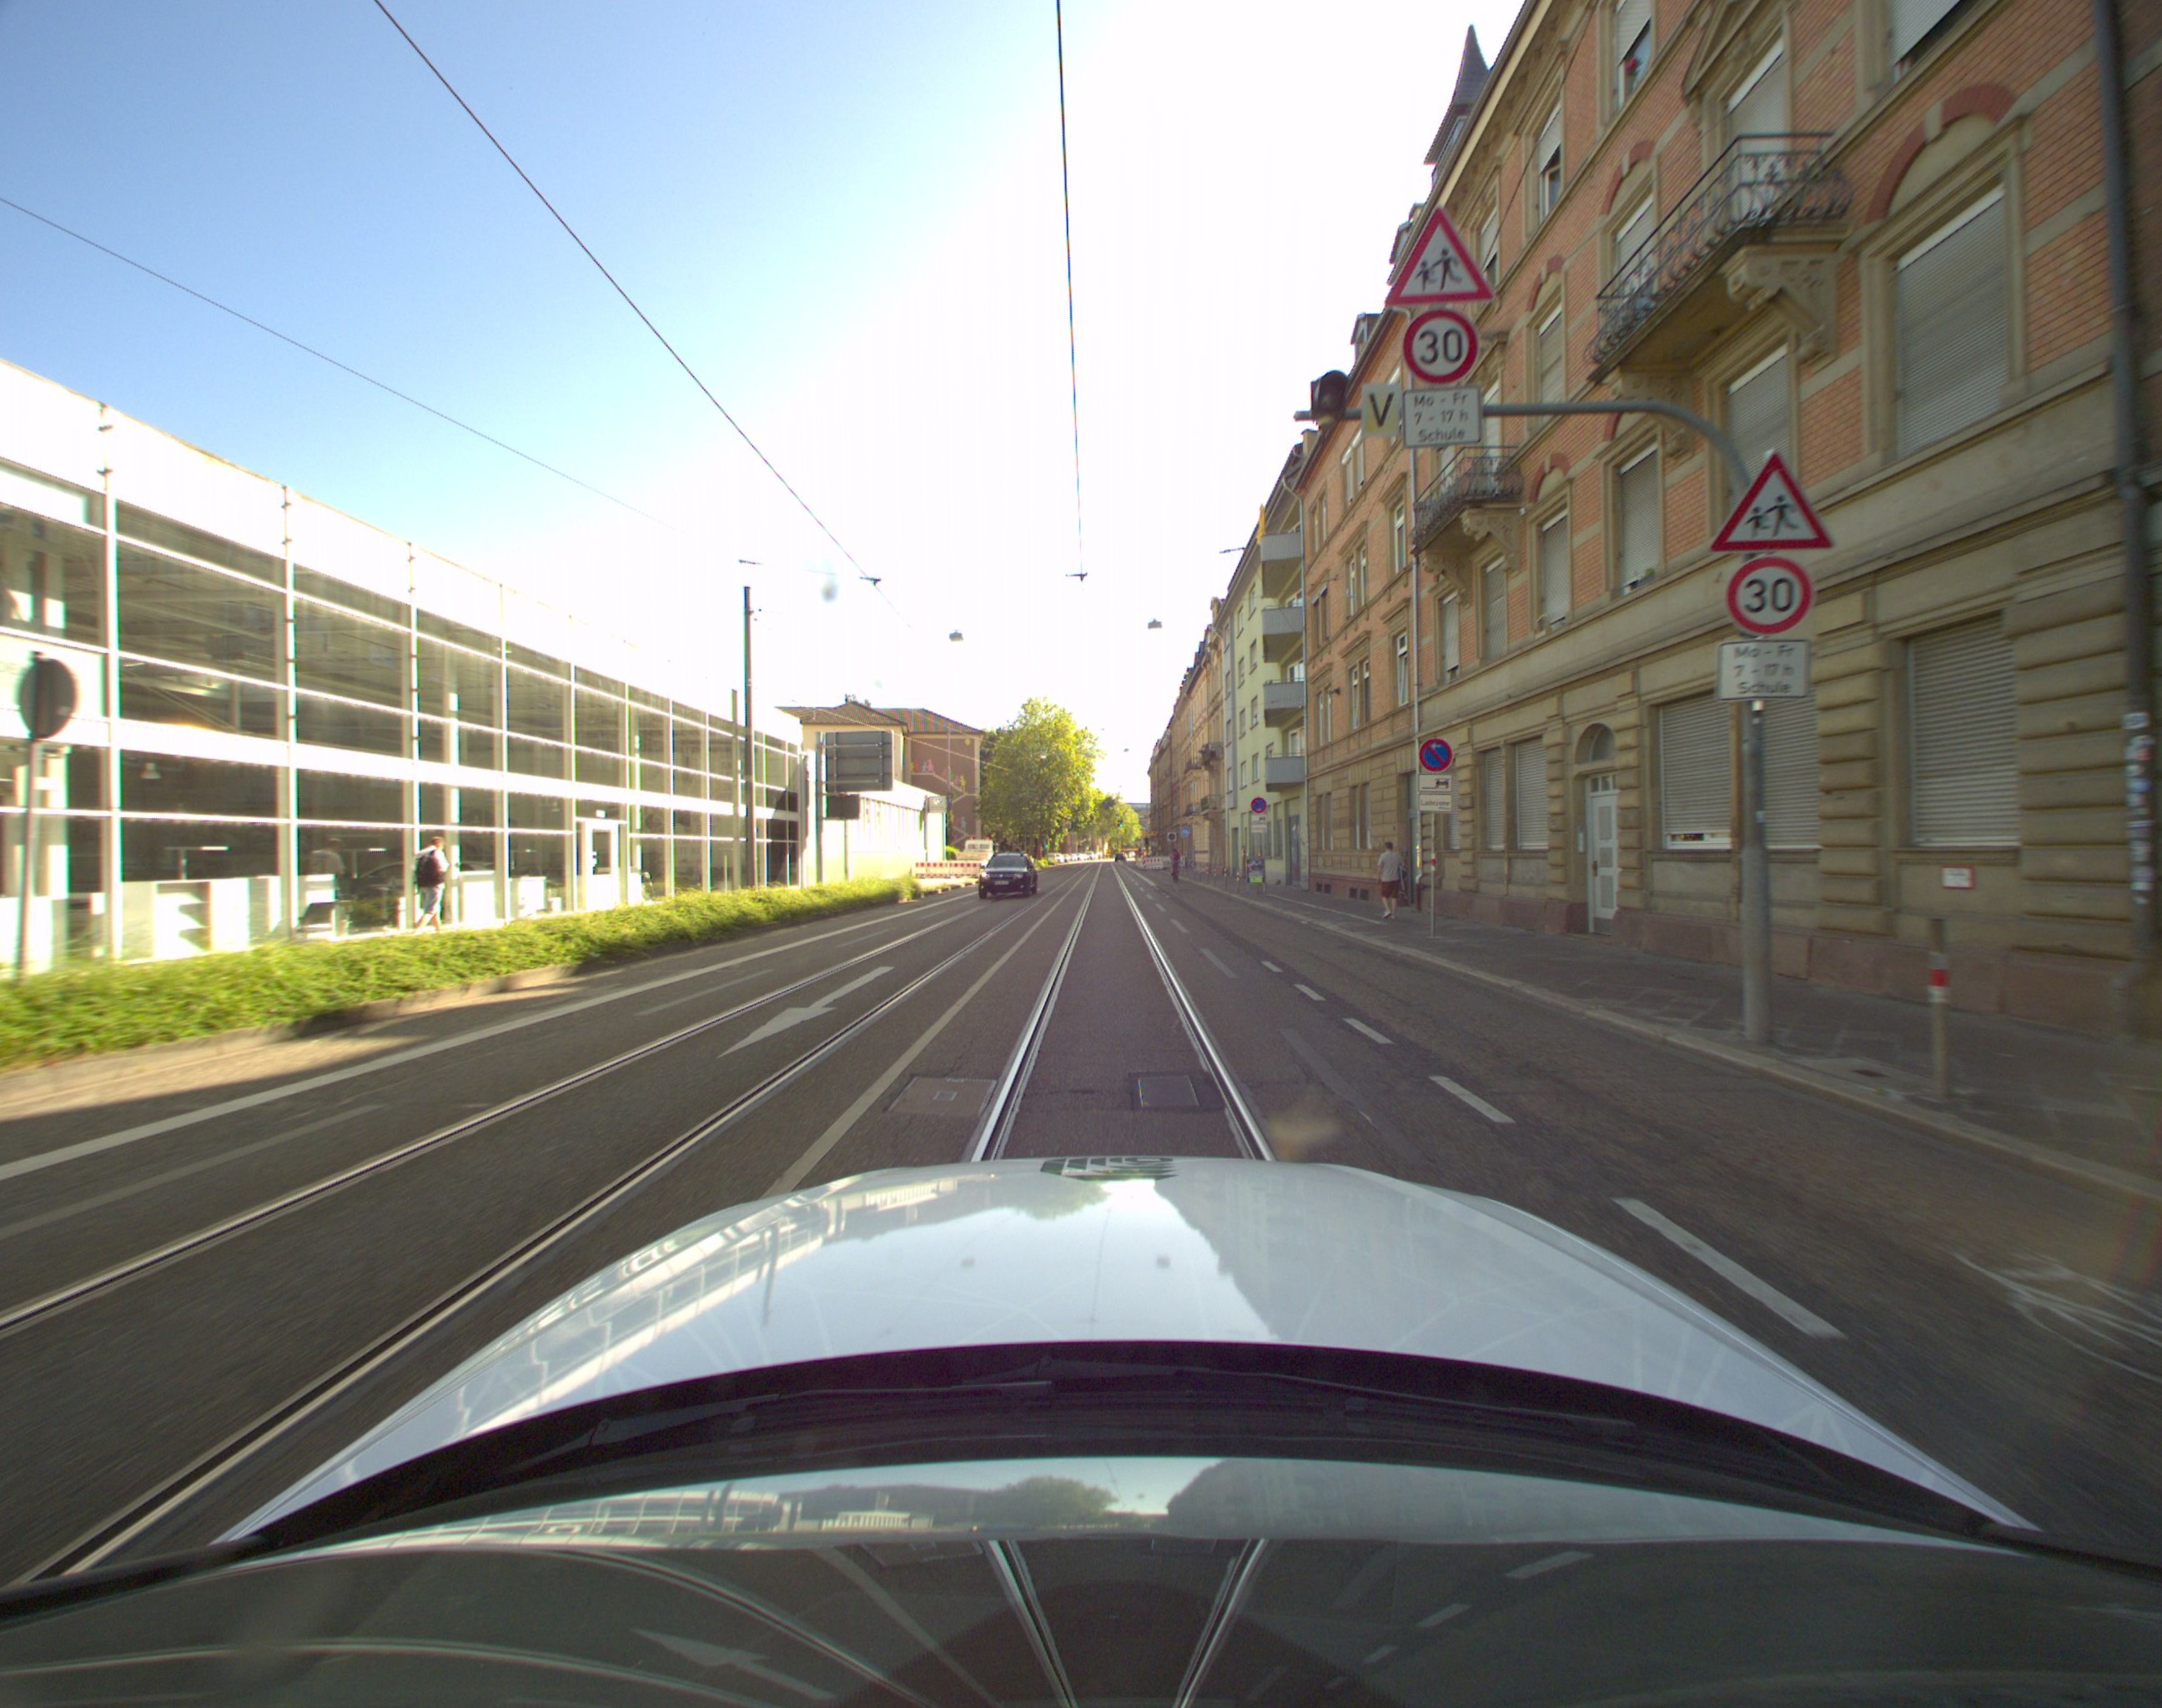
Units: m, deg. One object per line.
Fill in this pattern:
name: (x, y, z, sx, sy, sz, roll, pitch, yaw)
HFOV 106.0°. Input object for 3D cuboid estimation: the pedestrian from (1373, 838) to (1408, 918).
pedestrian: (6.764, 0.520, 17.806, 0.550, 1.701, 0.475, -3, -1, 8)

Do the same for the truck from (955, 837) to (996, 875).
truck: (-8.222, 0.173, 64.139, 2.531, 2.830, 6.371, 1, -1, -2)

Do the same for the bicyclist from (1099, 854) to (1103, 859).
bicyclist: (5.392, 0.693, 218.710, 1.071, 1.427, 1.149, 1, -1, 10)

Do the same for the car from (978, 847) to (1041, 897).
car: (-2.587, 0.641, 30.320, 1.752, 1.697, 4.147, 1, -1, 3)

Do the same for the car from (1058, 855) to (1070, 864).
car: (-3.003, 1.046, 144.989, 1.740, 1.509, 4.048, 1, -1, 4)

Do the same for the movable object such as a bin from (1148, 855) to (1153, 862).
movable object such as a bin: (10.617, 0.676, 123.871, 0.671, 1.036, 0.814, -1, 0, 2)

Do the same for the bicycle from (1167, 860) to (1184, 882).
bicycle: (5.038, 0.895, 43.621, 0.678, 1.114, 2.708, 1, 0, 2)

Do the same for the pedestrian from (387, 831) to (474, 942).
pedestrian: (-10.849, 0.528, 13.618, 0.525, 1.765, 1.051, 1, -1, 2)

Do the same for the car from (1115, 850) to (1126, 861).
car: (7.295, 0.366, 151.429, 1.986, 2.014, 4.002, 1, -1, 2)

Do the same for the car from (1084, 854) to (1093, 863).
car: (1.823, 1.155, 198.666, 2.049, 2.052, 4.048, 1, -1, 4)

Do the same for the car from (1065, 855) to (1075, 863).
car: (-2.212, 1.075, 167.934, 1.740, 1.495, 4.048, 1, -1, 4)

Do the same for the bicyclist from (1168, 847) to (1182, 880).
bicyclist: (5.051, 0.508, 43.711, 0.664, 1.697, 1.043, 1, -1, 1)

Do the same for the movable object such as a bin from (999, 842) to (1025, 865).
movable object such as a bin: (-8.018, -0.049, 95.248, 2.488, 2.645, 5.986, 1, 0, -1)

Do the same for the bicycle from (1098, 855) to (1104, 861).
bicycle: (5.438, 1.180, 218.728, 1.227, 1.572, 2.904, 1, -1, 9)
